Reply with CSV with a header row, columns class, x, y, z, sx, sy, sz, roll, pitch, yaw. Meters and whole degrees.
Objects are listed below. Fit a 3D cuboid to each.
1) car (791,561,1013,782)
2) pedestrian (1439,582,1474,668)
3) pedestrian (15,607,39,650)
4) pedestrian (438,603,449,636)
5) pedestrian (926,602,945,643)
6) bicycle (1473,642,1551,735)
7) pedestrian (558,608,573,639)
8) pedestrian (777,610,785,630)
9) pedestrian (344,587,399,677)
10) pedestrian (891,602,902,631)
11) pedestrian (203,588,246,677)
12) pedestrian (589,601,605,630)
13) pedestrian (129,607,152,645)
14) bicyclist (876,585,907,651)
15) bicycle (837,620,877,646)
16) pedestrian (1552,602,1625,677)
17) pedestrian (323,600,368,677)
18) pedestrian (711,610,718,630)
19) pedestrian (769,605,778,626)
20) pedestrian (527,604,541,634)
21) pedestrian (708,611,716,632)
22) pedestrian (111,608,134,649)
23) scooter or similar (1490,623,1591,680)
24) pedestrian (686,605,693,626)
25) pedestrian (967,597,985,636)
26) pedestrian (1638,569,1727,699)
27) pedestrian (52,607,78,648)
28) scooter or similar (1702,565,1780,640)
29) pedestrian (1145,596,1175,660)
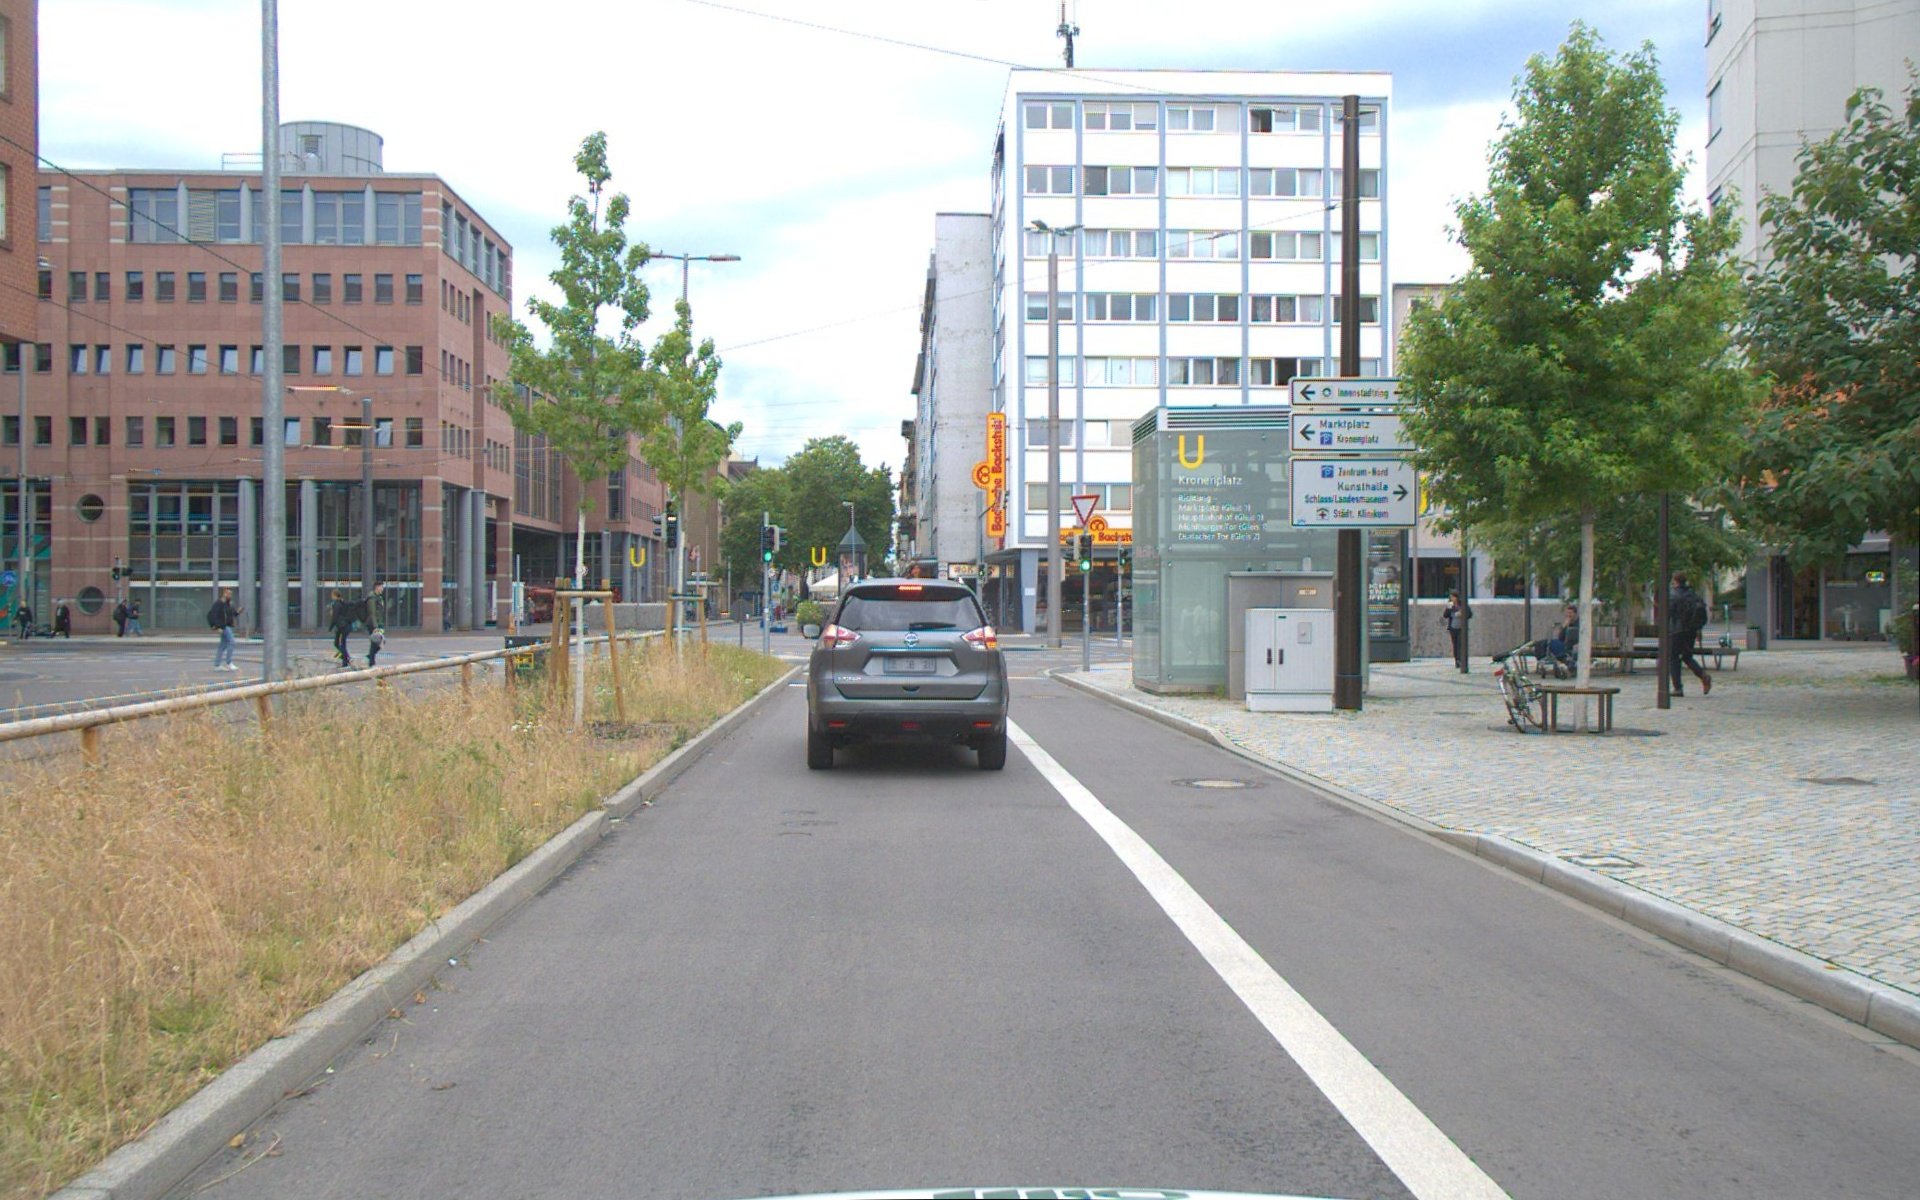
class,x,y,z,sx,sy,sz,roll,pitch,yaw
car,-0.455,0.603,16.200,1.825,1.806,4.567,-2,0,1
pedestrian,10.562,0.525,35.188,0.657,1.792,0.642,1,-1,13
pedestrian,-35.159,1.090,62.304,0.562,1.602,0.628,1,-2,-10
pedestrian,-24.516,0.914,78.558,0.442,1.559,0.519,1,-1,-20
pedestrian,-1.113,1.023,75.603,0.700,1.864,1.014,1,-1,-10
bicycle,6.458,1.005,19.310,0.645,0.995,1.753,-1,0,25
pedestrian,-23.918,1.412,100.308,0.724,1.874,0.695,1,-1,-30
pedestrian,-15.465,1.744,142.689,0.589,1.744,0.654,1,-1,-10
pedestrian,-12.722,0.692,35.774,0.879,1.923,0.798,1,-2,-5
pedestrian,-3.901,1.006,101.105,0.630,1.735,0.559,1,-1,-2
pedestrian,-16.164,0.715,36.360,0.598,1.923,0.798,0,-1,-5
pedestrian,-23.191,0.979,105.653,0.685,1.874,0.735,1,-1,17
pedestrian,-34.911,1.102,70.437,0.729,1.588,0.572,1,-2,-15
bicyclist,-1.929,0.508,46.841,0.817,1.844,0.877,1,-1,0
bicycle,-4.898,1.556,78.624,1.837,1.192,0.528,1,-1,-17
pedestrian,11.498,0.720,30.275,1.022,1.320,0.733,-2,-1,2
pedestrian,-13.950,0.864,37.565,0.729,1.713,0.798,1,-2,-7
pedestrian,-22.129,1.800,148.886,0.589,1.744,0.654,1,-1,-10
pedestrian,-14.214,1.190,126.072,0.589,1.563,0.654,1,-1,-10
pedestrian,-26.761,1.174,103.885,0.723,1.874,0.696,1,-1,-27
pedestrian,-20.808,1.765,138.712,0.589,1.744,0.654,1,-1,-10
pedestrian,-35.112,1.208,69.377,0.730,1.717,0.571,1,-2,-18
scooter or similar,10.429,0.926,29.723,1.560,0.965,0.722,-2,-1,36
pedestrian,-23.414,1.349,143.055,0.589,1.744,0.654,1,-1,-10
pedestrian,0.727,0.745,74.164,0.695,1.735,0.735,1,-1,9
pedestrian,10.616,0.493,24.343,0.699,1.834,1.077,-3,-1,-4
pedestrian,-34.769,1.085,64.261,0.560,1.588,0.744,1,-2,2
scooter or similar,19.711,0.064,41.795,1.061,1.838,2.275,-1,0,6
pedestrian,5.679,0.792,46.960,0.610,1.792,0.778,1,-1,-10
